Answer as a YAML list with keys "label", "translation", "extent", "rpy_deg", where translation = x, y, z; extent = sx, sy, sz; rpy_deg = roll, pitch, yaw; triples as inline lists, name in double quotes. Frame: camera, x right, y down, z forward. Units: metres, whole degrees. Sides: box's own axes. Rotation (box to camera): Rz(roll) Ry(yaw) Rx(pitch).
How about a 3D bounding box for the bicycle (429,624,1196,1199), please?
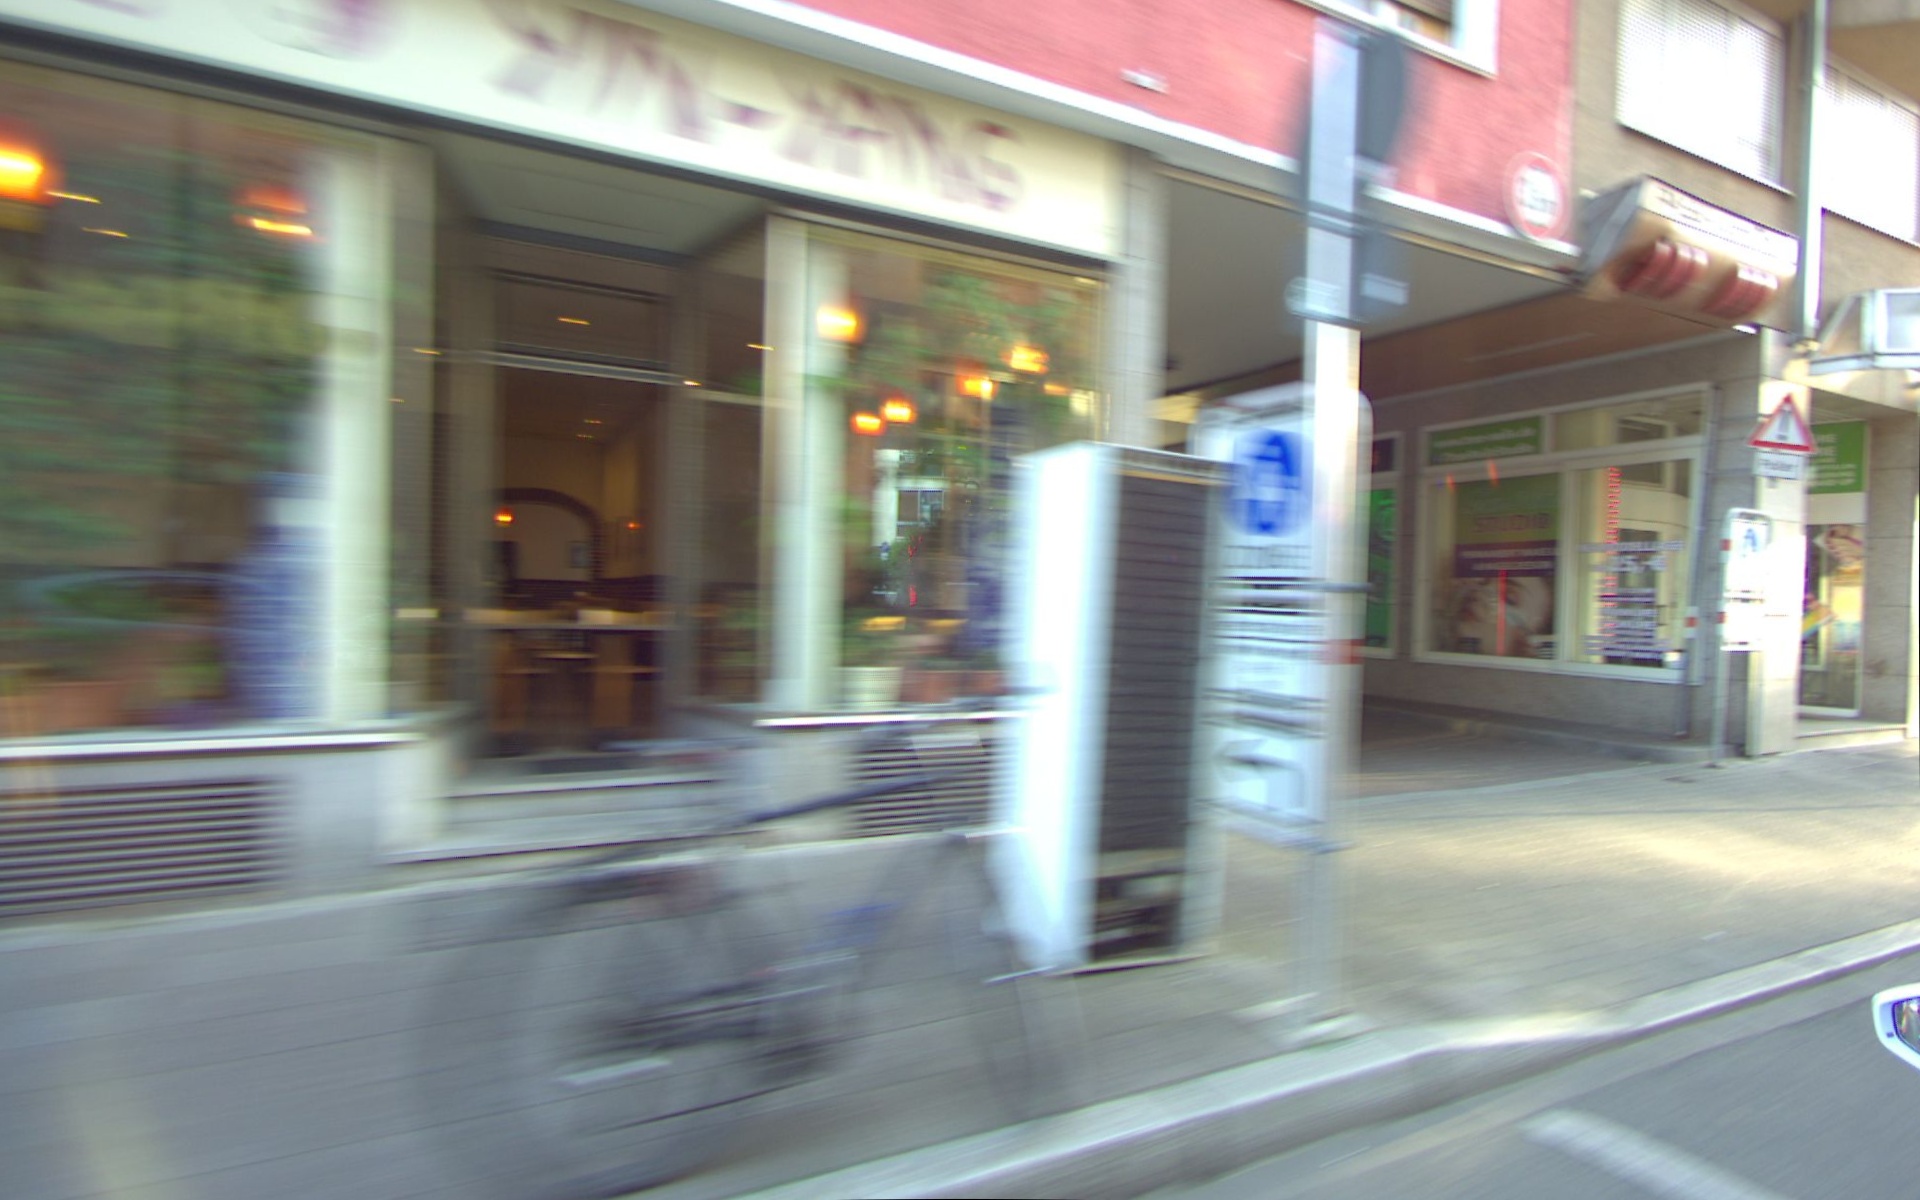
- label: "bicycle"
  translation: [-0.301, 0.678, 2.532]
  extent: [1.819, 1.208, 0.541]
  rpy_deg: [1, 1, -28]
